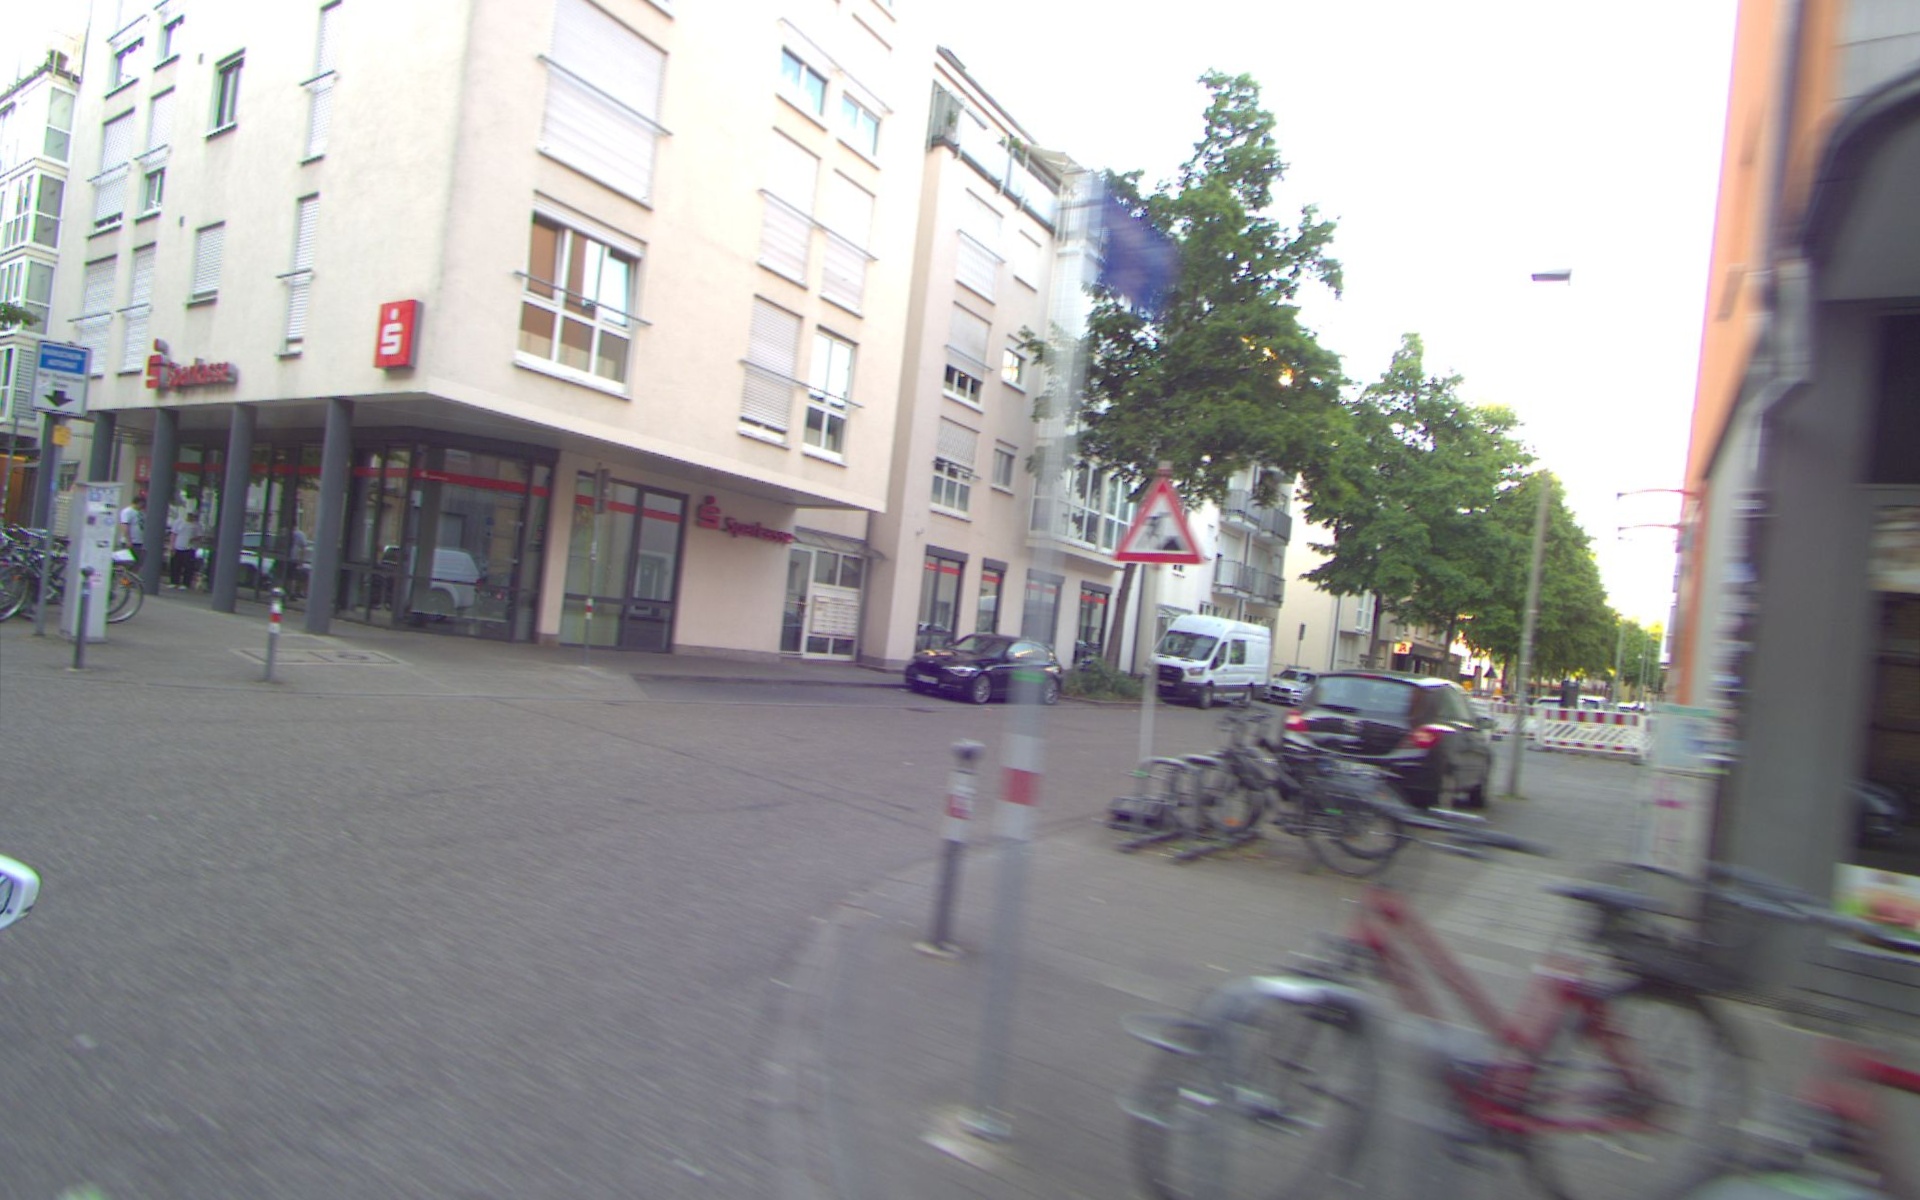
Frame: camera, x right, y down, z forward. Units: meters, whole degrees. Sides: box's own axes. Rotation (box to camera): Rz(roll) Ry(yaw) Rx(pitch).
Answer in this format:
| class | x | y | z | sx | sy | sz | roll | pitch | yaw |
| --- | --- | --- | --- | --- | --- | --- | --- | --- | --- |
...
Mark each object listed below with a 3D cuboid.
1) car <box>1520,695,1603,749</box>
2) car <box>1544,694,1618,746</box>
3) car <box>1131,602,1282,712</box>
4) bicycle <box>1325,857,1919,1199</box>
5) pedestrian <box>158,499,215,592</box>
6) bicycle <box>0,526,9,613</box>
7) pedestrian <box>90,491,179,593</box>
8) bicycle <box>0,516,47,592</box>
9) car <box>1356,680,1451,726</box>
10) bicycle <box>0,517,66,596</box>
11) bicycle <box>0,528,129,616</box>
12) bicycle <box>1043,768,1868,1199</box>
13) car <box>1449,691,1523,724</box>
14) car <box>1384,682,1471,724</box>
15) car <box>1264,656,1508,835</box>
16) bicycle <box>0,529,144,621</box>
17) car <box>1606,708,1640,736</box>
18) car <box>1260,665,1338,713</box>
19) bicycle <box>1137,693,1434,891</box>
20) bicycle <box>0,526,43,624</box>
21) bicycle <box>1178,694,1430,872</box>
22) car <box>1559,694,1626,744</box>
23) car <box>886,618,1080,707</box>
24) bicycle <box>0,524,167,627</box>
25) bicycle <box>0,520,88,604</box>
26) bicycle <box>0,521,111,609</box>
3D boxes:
| class | x | y | z | sx | sy | sz | roll | pitch | yaw |
| --- | --- | --- | --- | --- | --- | --- | --- | --- | --- |
| car | 19.646 | 3.965 | 32.767 | 1.783 | 1.436 | 4.120 | 5 | -3 | 37 |
| car | 23.016 | 4.439 | 37.245 | 1.848 | 1.613 | 3.741 | 5 | -3 | 38 |
| car | 7.799 | 1.878 | 31.158 | 2.042 | 2.766 | 6.771 | 9 | -1 | 34 |
| bicycle | 1.672 | 1.129 | 1.833 | 1.916 | 1.149 | 0.654 | 5 | 1 | -19 |
| pedestrian | -15.311 | -1.081 | 19.930 | 0.657 | 1.745 | 0.658 | 6 | 2 | -28 |
| bicycle | -13.242 | -0.464 | 12.575 | 0.695 | 1.132 | 1.810 | 6 | 0 | 32 |
| pedestrian | -15.309 | -1.072 | 18.671 | 0.898 | 1.746 | 0.774 | 6 | 2 | -10 |
| bicycle | -15.141 | -0.763 | 15.284 | 0.643 | 1.132 | 1.724 | 6 | 0 | 31 |
| car | 21.381 | 4.960 | 48.701 | 3.926 | 1.703 | 1.948 | 5 | -2 | 20 |
| bicycle | -14.530 | -0.688 | 14.929 | 0.643 | 1.132 | 1.724 | 6 | 0 | 31 |
| bicycle | -12.258 | -0.381 | 13.381 | 0.644 | 1.067 | 1.721 | 6 | 0 | 37 |
| bicycle | 1.263 | 1.092 | 2.573 | 1.916 | 1.149 | 0.654 | 5 | 1 | -19 |
| car | 34.913 | 7.118 | 66.899 | 3.924 | 1.703 | 1.949 | 6 | -2 | 15 |
| car | 25.060 | 5.521 | 53.950 | 3.934 | 1.703 | 1.944 | 5 | -3 | 32 |
| car | 4.904 | 1.540 | 11.286 | 1.679 | 1.493 | 3.670 | 5 | -2 | 35 |
| bicycle | -11.736 | -0.320 | 12.978 | 0.644 | 1.067 | 1.721 | 6 | 0 | 37 |
| car | 42.762 | 7.878 | 64.834 | 1.567 | 1.558 | 3.586 | 5 | -3 | 36 |
| car | 13.111 | 3.466 | 38.783 | 1.740 | 1.558 | 4.091 | 5 | -3 | 34 |
| bicycle | 2.342 | 1.335 | 7.408 | 1.935 | 1.080 | 0.562 | 4 | -1 | 39 |
| bicycle | -11.898 | -0.348 | 11.669 | 0.696 | 1.132 | 1.721 | 6 | 0 | 37 |
| bicycle | 2.684 | 1.384 | 7.975 | 1.732 | 1.080 | 0.562 | 4 | -1 | 39 |
| car | 26.071 | 4.904 | 41.436 | 1.819 | 1.756 | 3.733 | 5 | -3 | 39 |
| car | 0.582 | 1.383 | 21.377 | 1.765 | 1.451 | 4.230 | 10 | 1 | 39 |
| bicycle | -10.922 | -0.279 | 12.378 | 0.568 | 1.146 | 1.727 | 5 | 0 | 22 |
| bicycle | -13.652 | -0.573 | 14.336 | 0.644 | 1.132 | 1.721 | 6 | 0 | 37 |
| bicycle | -13.133 | -0.509 | 14.109 | 0.644 | 1.132 | 1.721 | 6 | 0 | 37 |
